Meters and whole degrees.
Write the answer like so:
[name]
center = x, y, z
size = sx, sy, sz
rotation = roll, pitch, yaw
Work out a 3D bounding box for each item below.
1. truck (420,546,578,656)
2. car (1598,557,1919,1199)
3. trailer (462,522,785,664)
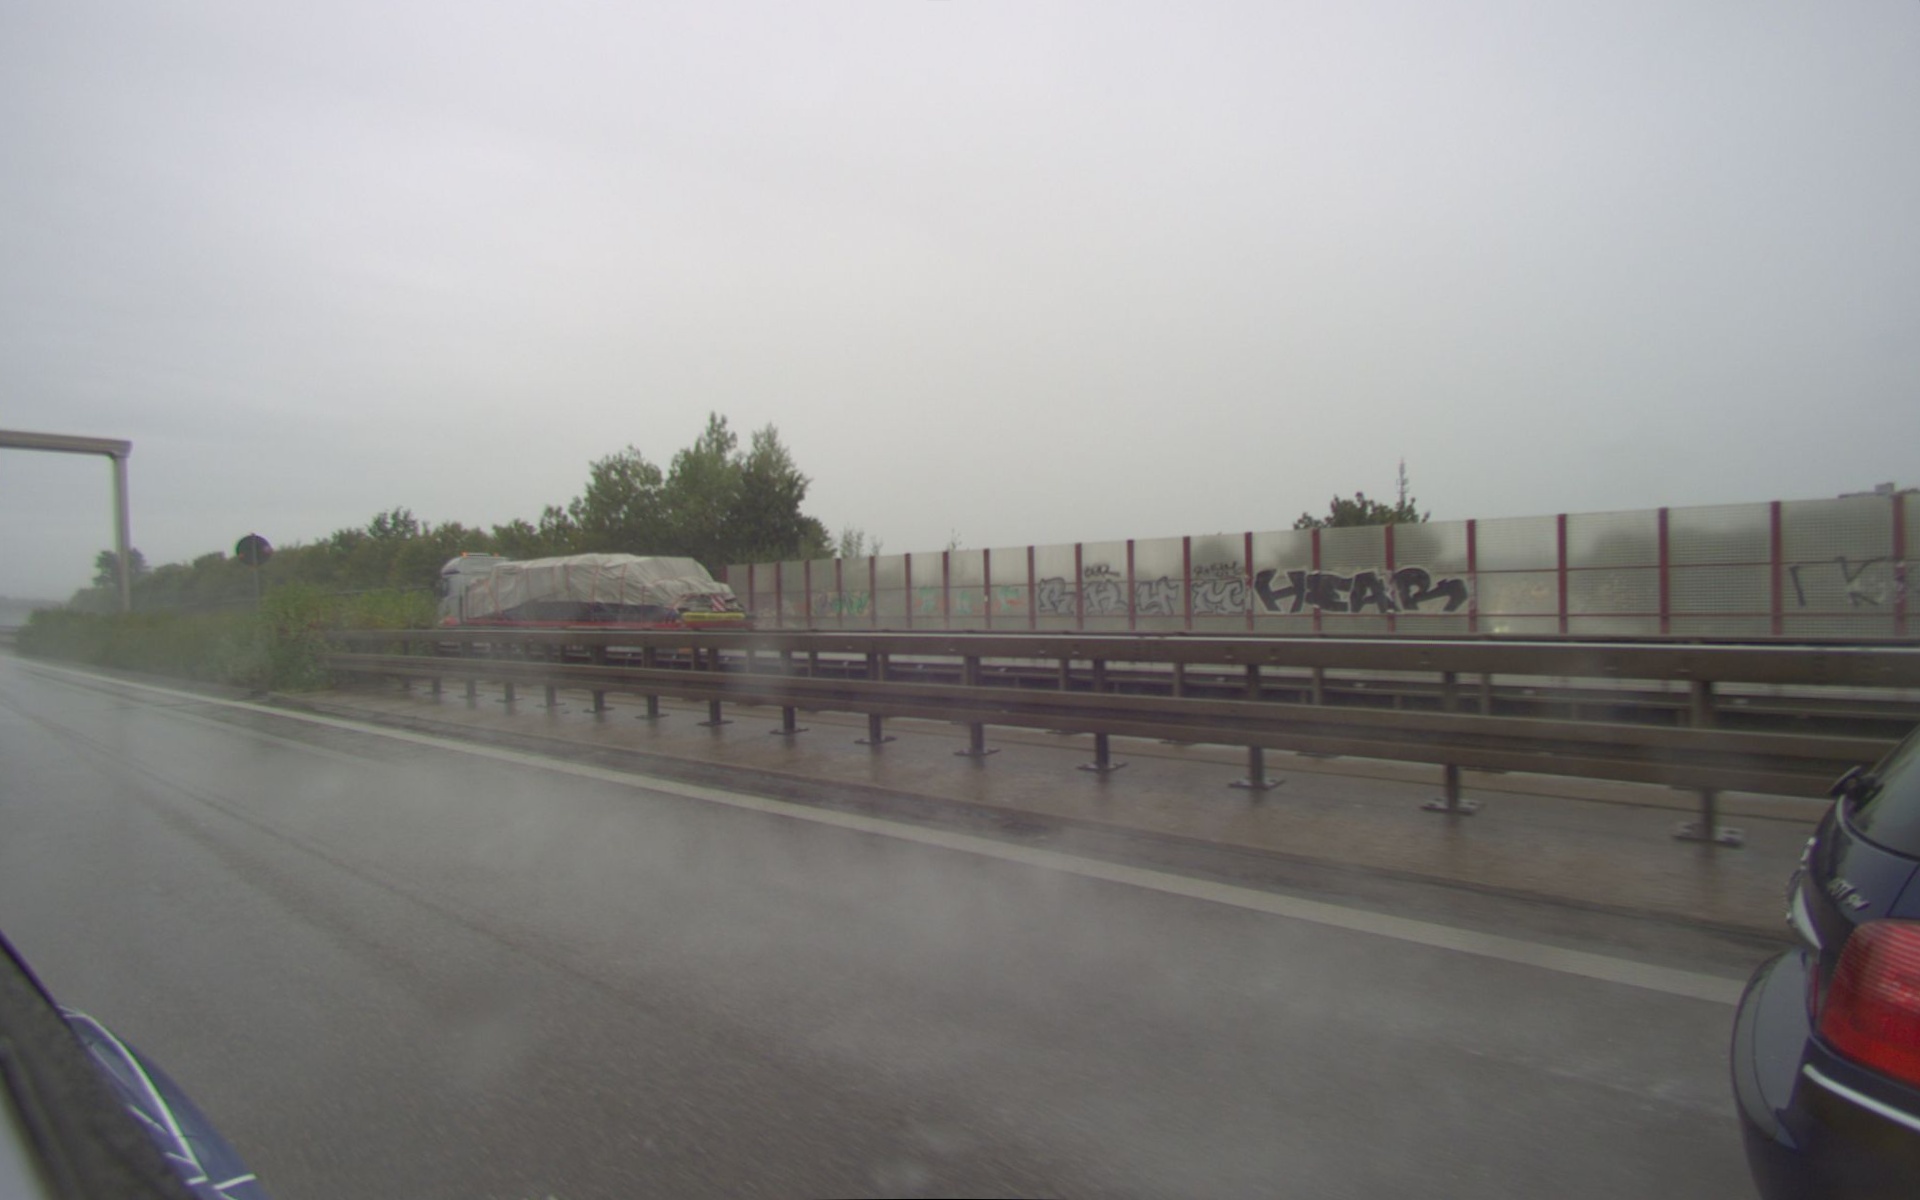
[truck]
center = -16.621, 0.088, 36.353
size = 5.996, 3.626, 2.951
rotation = -1, -1, 41
[car]
center = 3.630, 0.630, 0.656
size = 5.157, 1.496, 2.032
rotation = -2, -1, 42
[trailer]
center = -11.013, -0.074, 31.540
size = 13.562, 3.640, 3.041
rotation = -1, -1, 41
